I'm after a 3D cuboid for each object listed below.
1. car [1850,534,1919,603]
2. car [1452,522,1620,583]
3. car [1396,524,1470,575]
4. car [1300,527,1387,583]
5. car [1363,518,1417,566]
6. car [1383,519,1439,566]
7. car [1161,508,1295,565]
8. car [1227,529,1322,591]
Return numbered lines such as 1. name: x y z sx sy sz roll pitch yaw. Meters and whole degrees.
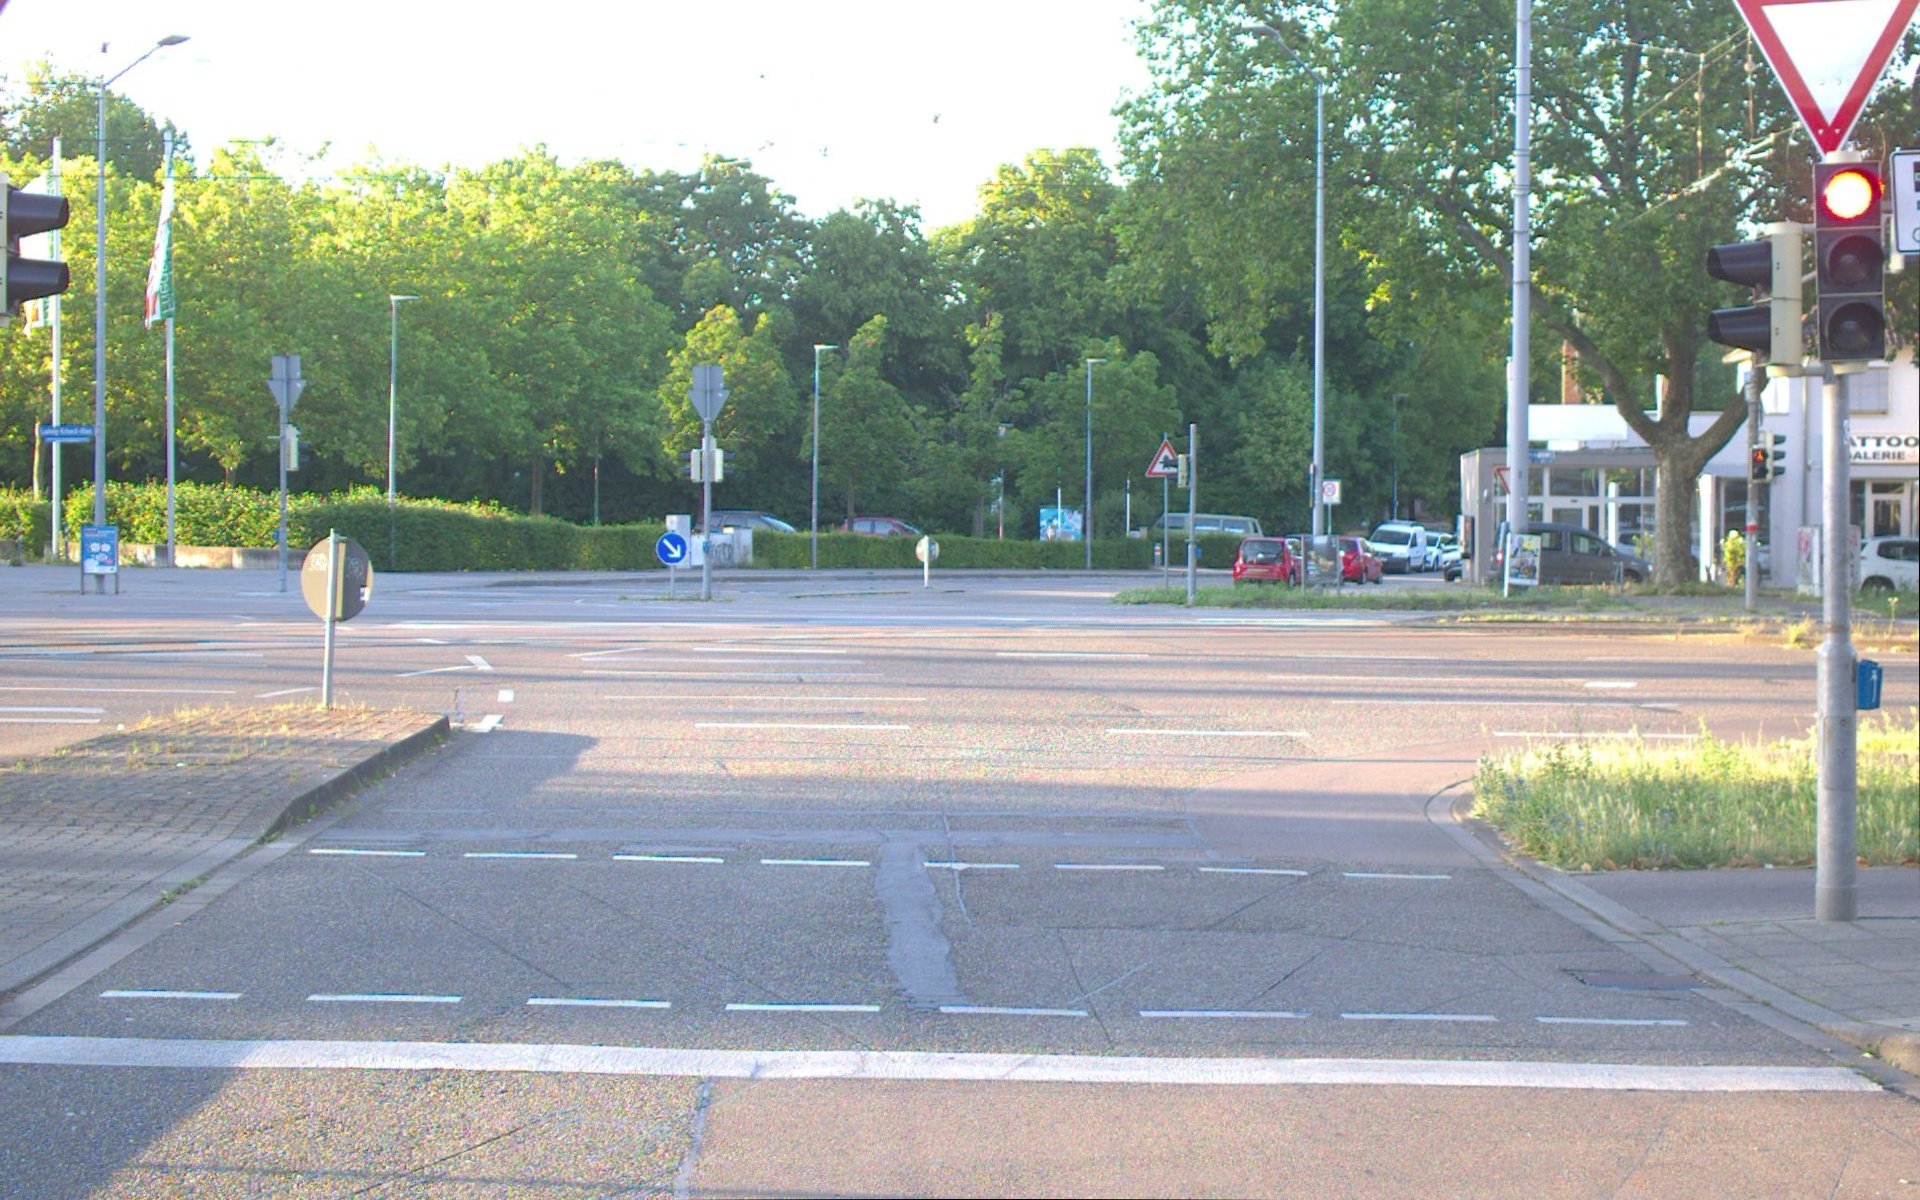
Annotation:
1. car: 20.713 -0.643 72.229 3.741 1.435 1.663 1 0 9
2. car: 14.908 -1.219 89.162 4.220 1.547 1.999 1 0 7
3. car: 15.918 -1.681 115.592 1.995 1.656 3.997 1 0 15
4. car: 11.552 -1.341 103.367 1.995 1.656 3.997 1 0 15
5. car: 16.424 -2.195 131.183 1.864 1.788 3.998 1 0 10
6. car: 17.879 -2.257 136.077 1.864 1.788 3.998 1 0 12
7. car: 9.779 -2.323 125.869 4.774 1.999 2.000 0 0 2
8. car: 8.772 -1.102 95.681 1.995 1.656 3.997 1 0 15
